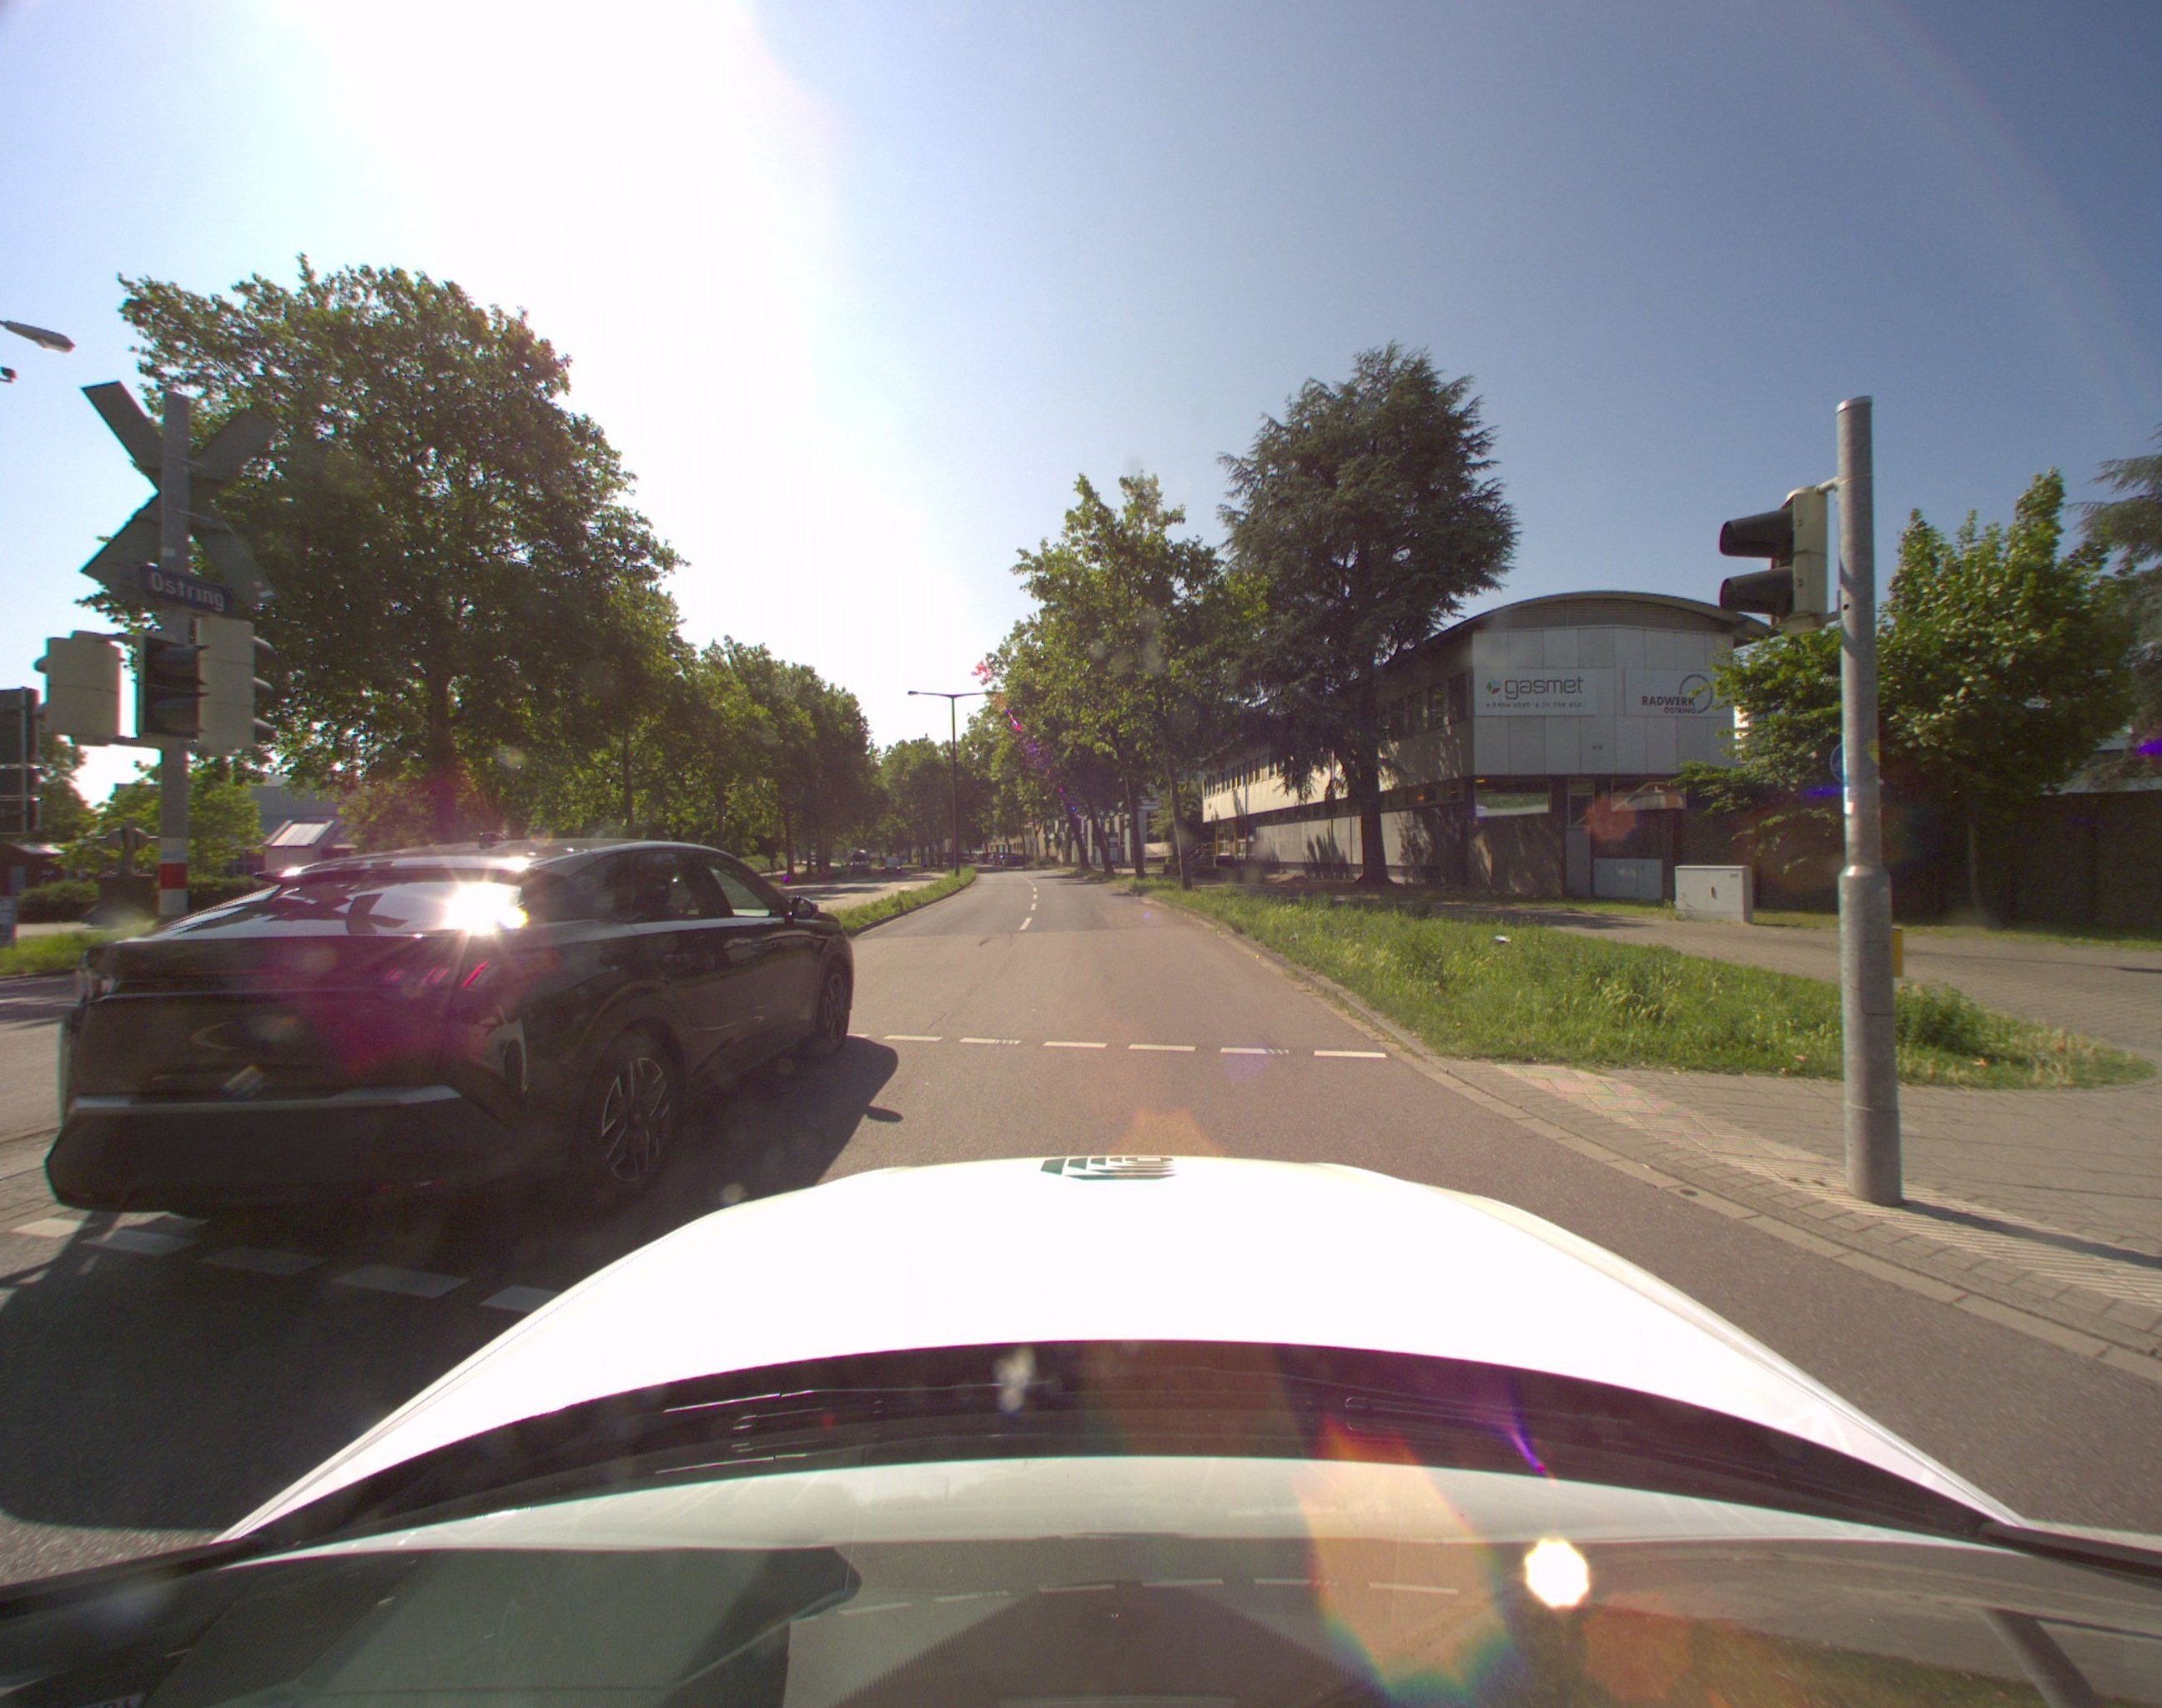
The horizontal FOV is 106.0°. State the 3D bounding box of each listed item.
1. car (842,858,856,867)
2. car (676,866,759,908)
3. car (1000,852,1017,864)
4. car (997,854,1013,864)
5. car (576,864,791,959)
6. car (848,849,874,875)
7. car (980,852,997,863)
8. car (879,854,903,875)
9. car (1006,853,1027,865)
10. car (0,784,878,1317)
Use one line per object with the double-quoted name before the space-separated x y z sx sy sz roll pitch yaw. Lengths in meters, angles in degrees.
"car" -39.625 1.483 139.145 1.796 1.556 4.378 -2 0 -12
"car" -15.515 1.362 34.992 1.705 1.589 4.428 -2 0 -3
"car" -9.979 0.529 111.362 1.709 1.487 4.081 -1 0 -14
"car" -10.880 0.730 116.416 1.709 1.455 4.634 -1 0 -14
"car" -7.333 0.980 15.551 1.685 1.508 4.137 -1 0 6
"car" -23.158 0.880 85.874 2.061 2.613 7.189 -2 -1 -11
"car" -14.636 0.629 128.334 1.712 1.669 4.505 -1 0 -19
"car" -17.861 0.938 76.842 1.684 1.839 4.981 -2 0 -8
"car" -8.451 0.683 105.899 1.711 1.487 4.690 -2 0 -18
"car" -2.769 0.659 4.881 1.865 1.696 4.436 -1 -1 1
